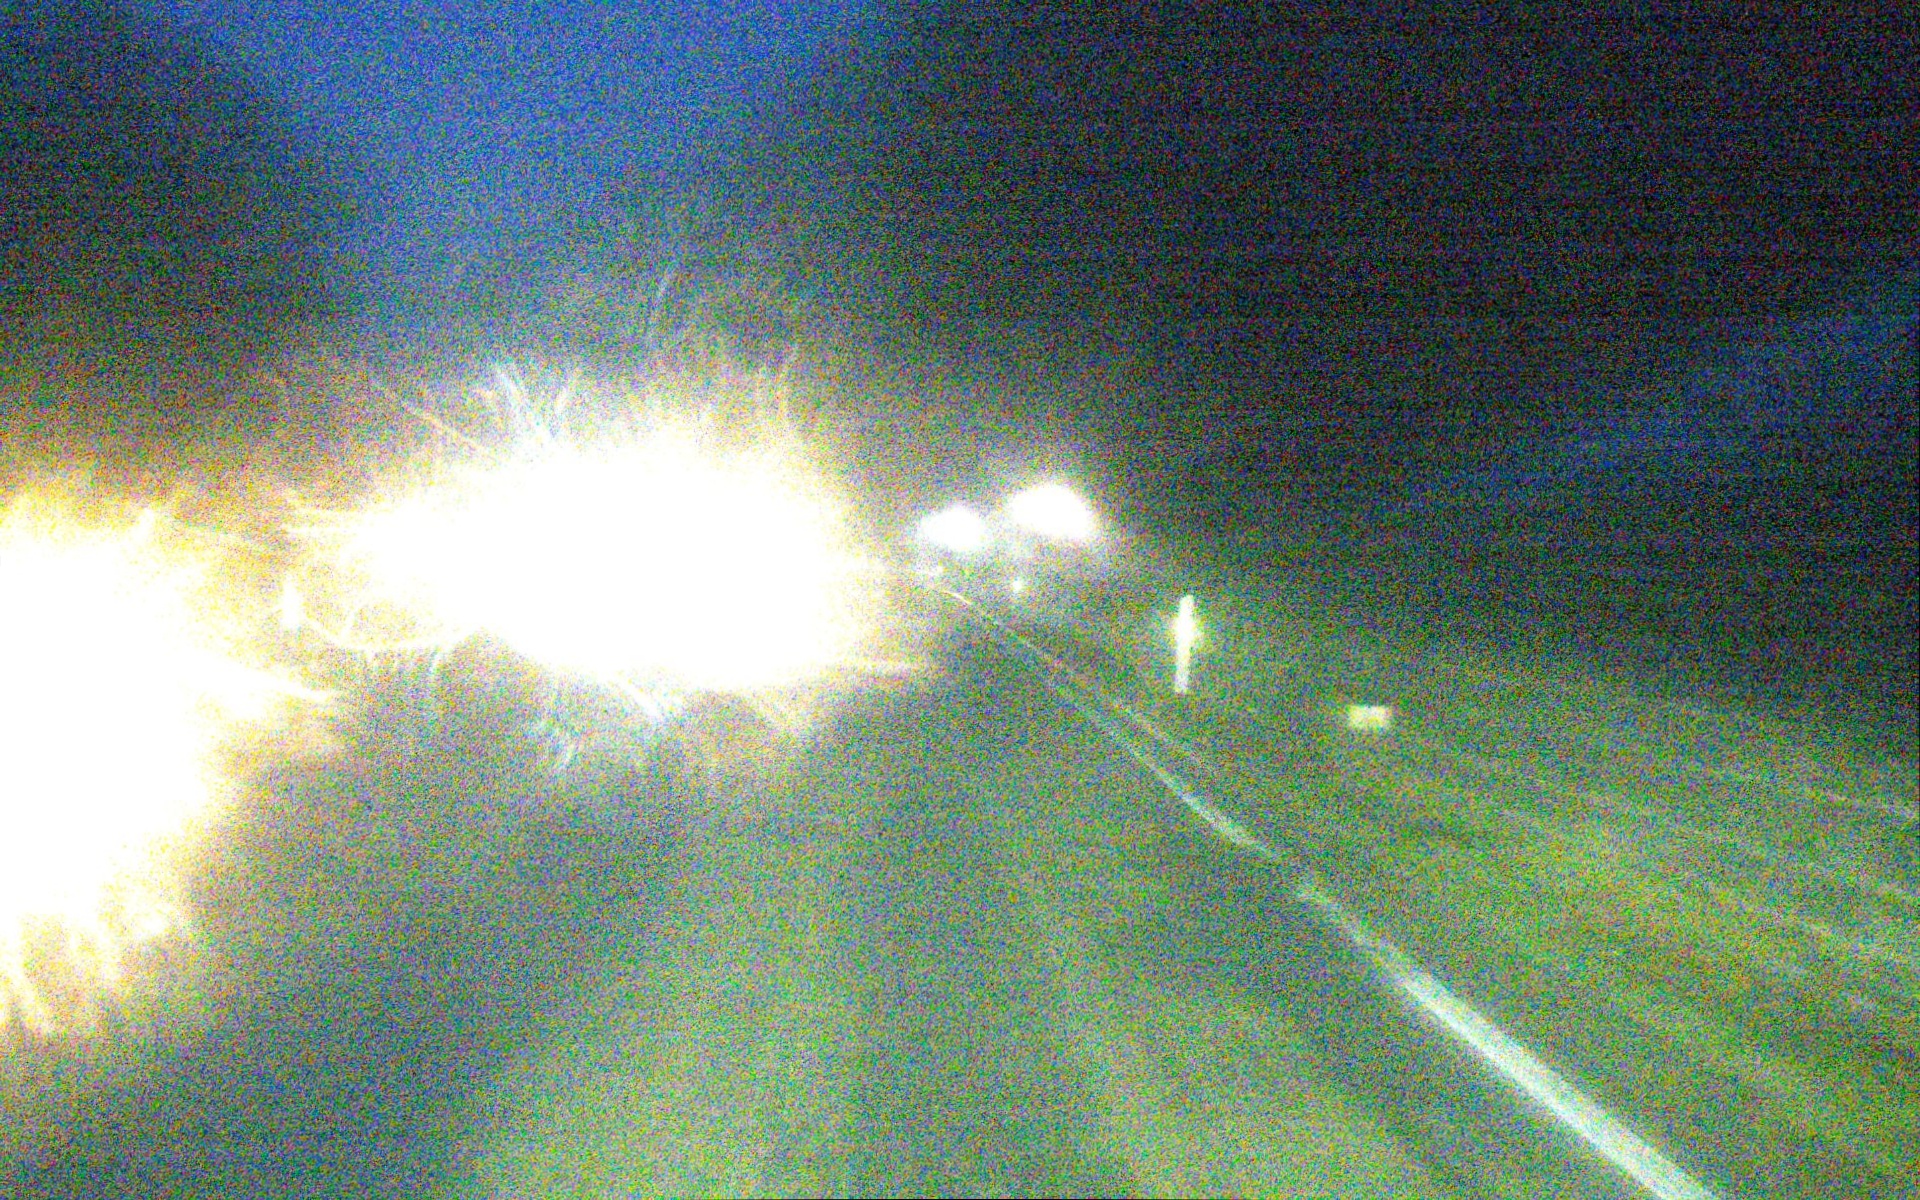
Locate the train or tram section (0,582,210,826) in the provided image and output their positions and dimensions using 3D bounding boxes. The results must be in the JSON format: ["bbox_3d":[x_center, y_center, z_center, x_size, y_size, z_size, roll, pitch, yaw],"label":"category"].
[{"bbox_3d":[-14.133,1.501,54.470,2.843,3.448,8.554,0,1,-2],"label":"train or tram section"}]
